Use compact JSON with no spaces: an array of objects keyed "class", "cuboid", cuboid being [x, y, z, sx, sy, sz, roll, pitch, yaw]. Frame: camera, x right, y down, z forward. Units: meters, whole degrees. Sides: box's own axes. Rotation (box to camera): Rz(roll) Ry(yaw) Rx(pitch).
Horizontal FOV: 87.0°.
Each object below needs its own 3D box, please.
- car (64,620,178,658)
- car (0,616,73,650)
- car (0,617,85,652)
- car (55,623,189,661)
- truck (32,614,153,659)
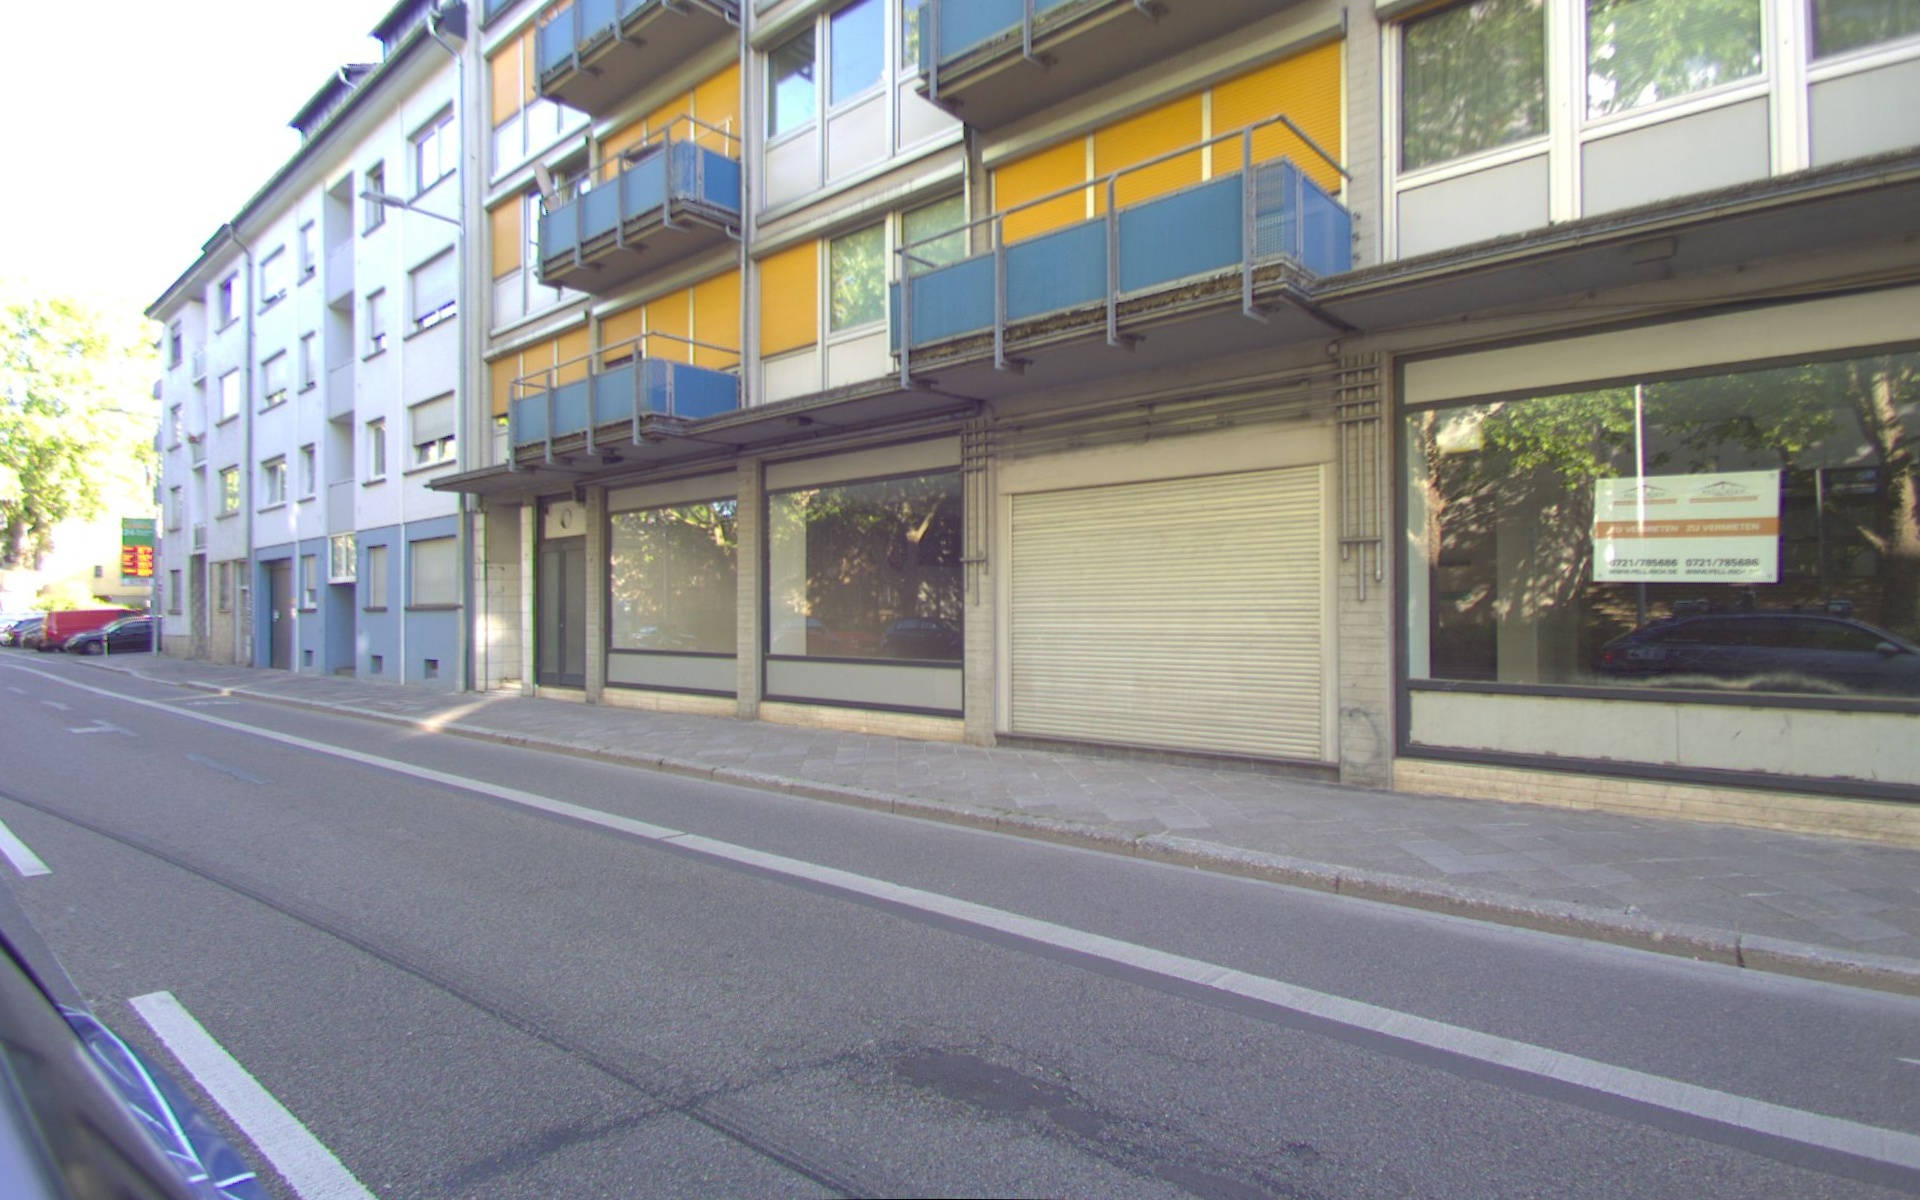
[{"class":"car","cuboid":[-38.046,1.728,45.941,1.657,1.583,3.762,-1,0,41]},{"class":"car","cuboid":[-59.344,2.090,64.400,2.000,2.052,4.180,-1,0,43]},{"class":"car","cuboid":[-56.060,2.062,61.471,2.000,1.971,4.180,-1,0,43]},{"class":"car","cuboid":[-36.495,1.791,44.158,1.657,1.417,4.269,-1,0,40]},{"class":"truck","cuboid":[-40.722,1.645,47.572,1.999,1.939,4.040,-1,0,40]}]
